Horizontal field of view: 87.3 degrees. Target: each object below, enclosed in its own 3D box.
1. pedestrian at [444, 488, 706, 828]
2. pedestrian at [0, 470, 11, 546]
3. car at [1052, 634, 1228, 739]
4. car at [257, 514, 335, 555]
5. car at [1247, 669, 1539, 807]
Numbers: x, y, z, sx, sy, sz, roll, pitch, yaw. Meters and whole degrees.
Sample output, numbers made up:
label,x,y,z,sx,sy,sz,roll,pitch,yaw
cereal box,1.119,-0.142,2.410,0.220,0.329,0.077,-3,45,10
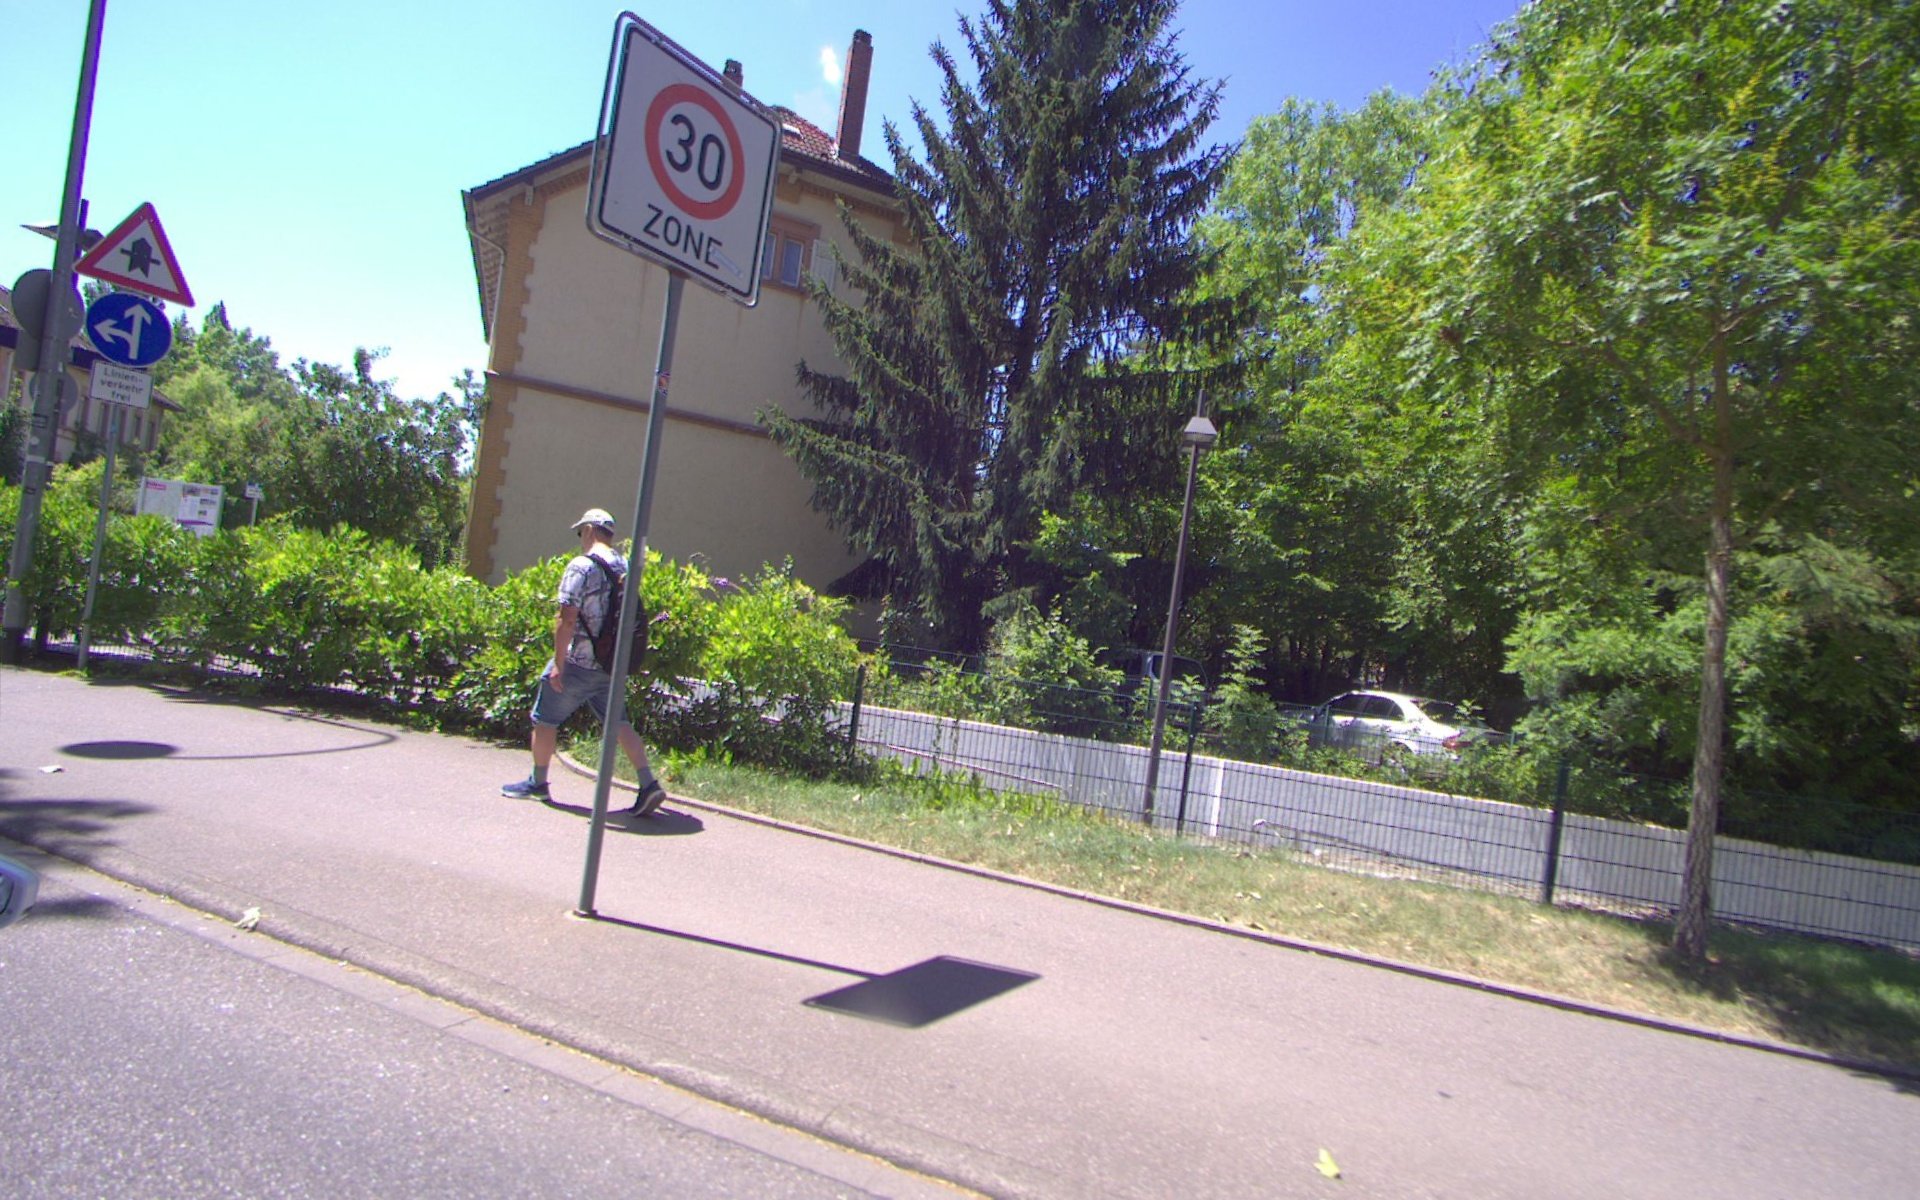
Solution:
label,x,y,z,sx,sy,sz,roll,pitch,yaw
pedestrian,-2.287,0.325,6.043,0.899,1.793,0.914,7,0,27
pedestrian,-19.740,-1.848,20.143,0.687,1.647,0.617,9,0,10
car,3.484,1.655,20.263,1.632,1.554,3.954,8,-1,-19
car,-50.835,-5.008,77.133,4.398,2.349,2.192,8,-1,-21
car,7.130,2.239,17.131,1.747,1.517,4.476,8,-1,-23
